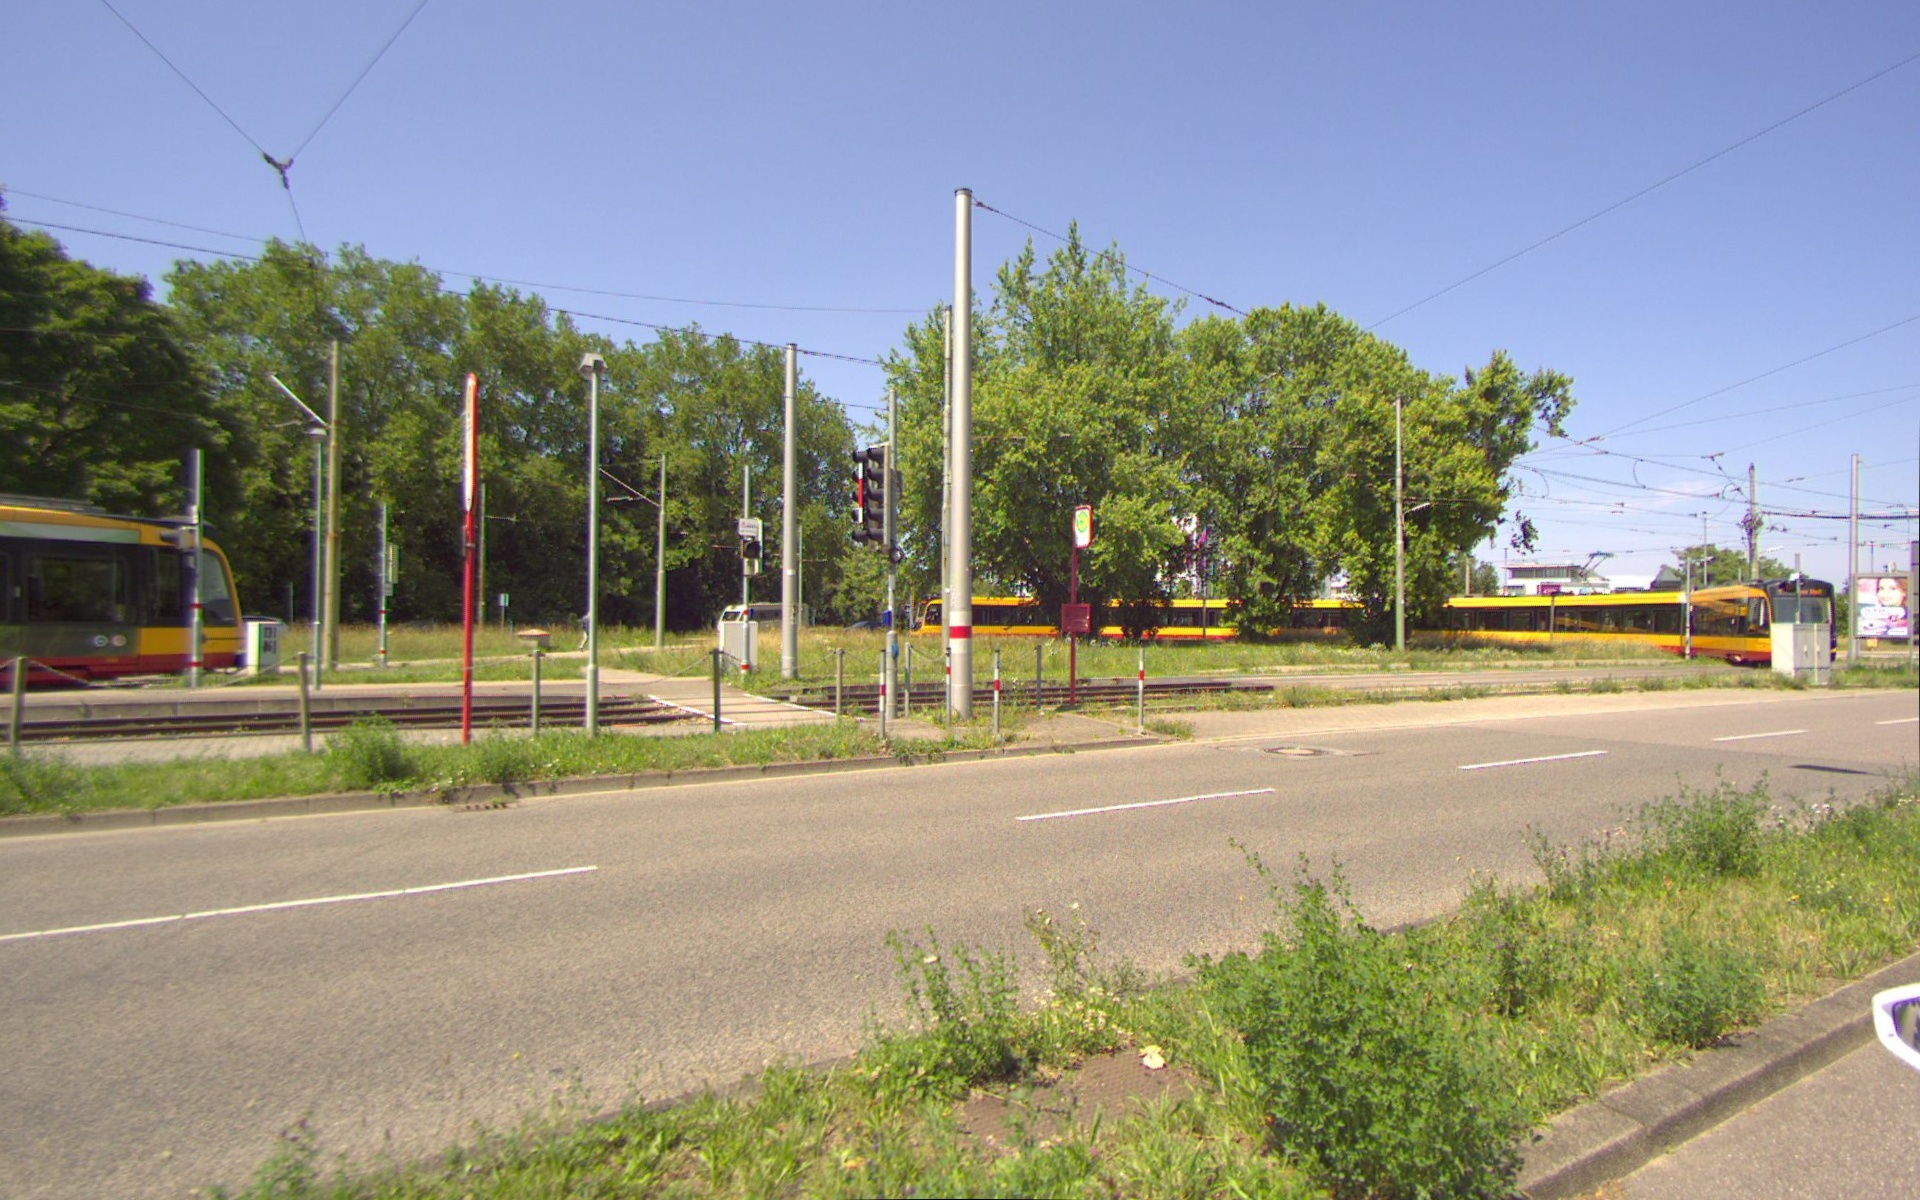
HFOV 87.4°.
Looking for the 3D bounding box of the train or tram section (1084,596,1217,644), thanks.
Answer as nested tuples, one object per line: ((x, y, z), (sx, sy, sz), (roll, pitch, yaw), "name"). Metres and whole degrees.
((14.833, 1.519, 79.054), (10.016, 3.512, 3.048), (1, 0, 7), "train or tram section")

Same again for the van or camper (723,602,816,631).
((-14.328, 1.218, 76.060), (1.970, 2.040, 7.321), (2, 0, 41), "van or camper")

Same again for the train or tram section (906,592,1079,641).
((2.577, 1.321, 77.008), (13.069, 3.512, 3.031), (1, 0, -22), "train or tram section")

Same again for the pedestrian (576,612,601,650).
((-15.950, 1.306, 43.159), (0.677, 1.595, 0.791), (1, 0, 13), "pedestrian")

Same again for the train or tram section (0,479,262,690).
((-19.084, -0.321, 16.458), (3.000, 3.673, 12.423), (1, 0, 31), "train or tram section")

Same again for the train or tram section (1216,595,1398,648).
((25.897, 1.532, 75.449), (12.524, 3.512, 3.040), (1, 0, 31), "train or tram section")

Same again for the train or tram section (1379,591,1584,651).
((33.897, 1.217, 66.309), (3.007, 3.512, 12.663), (1, 0, -26), "train or tram section")

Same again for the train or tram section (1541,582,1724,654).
((36.474, 0.895, 55.180), (2.987, 3.512, 10.222), (1, 0, -1), "train or tram section")

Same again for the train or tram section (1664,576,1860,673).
((34.196, 0.928, 43.657), (2.987, 3.512, 13.286), (1, 0, 22), "train or tram section")
